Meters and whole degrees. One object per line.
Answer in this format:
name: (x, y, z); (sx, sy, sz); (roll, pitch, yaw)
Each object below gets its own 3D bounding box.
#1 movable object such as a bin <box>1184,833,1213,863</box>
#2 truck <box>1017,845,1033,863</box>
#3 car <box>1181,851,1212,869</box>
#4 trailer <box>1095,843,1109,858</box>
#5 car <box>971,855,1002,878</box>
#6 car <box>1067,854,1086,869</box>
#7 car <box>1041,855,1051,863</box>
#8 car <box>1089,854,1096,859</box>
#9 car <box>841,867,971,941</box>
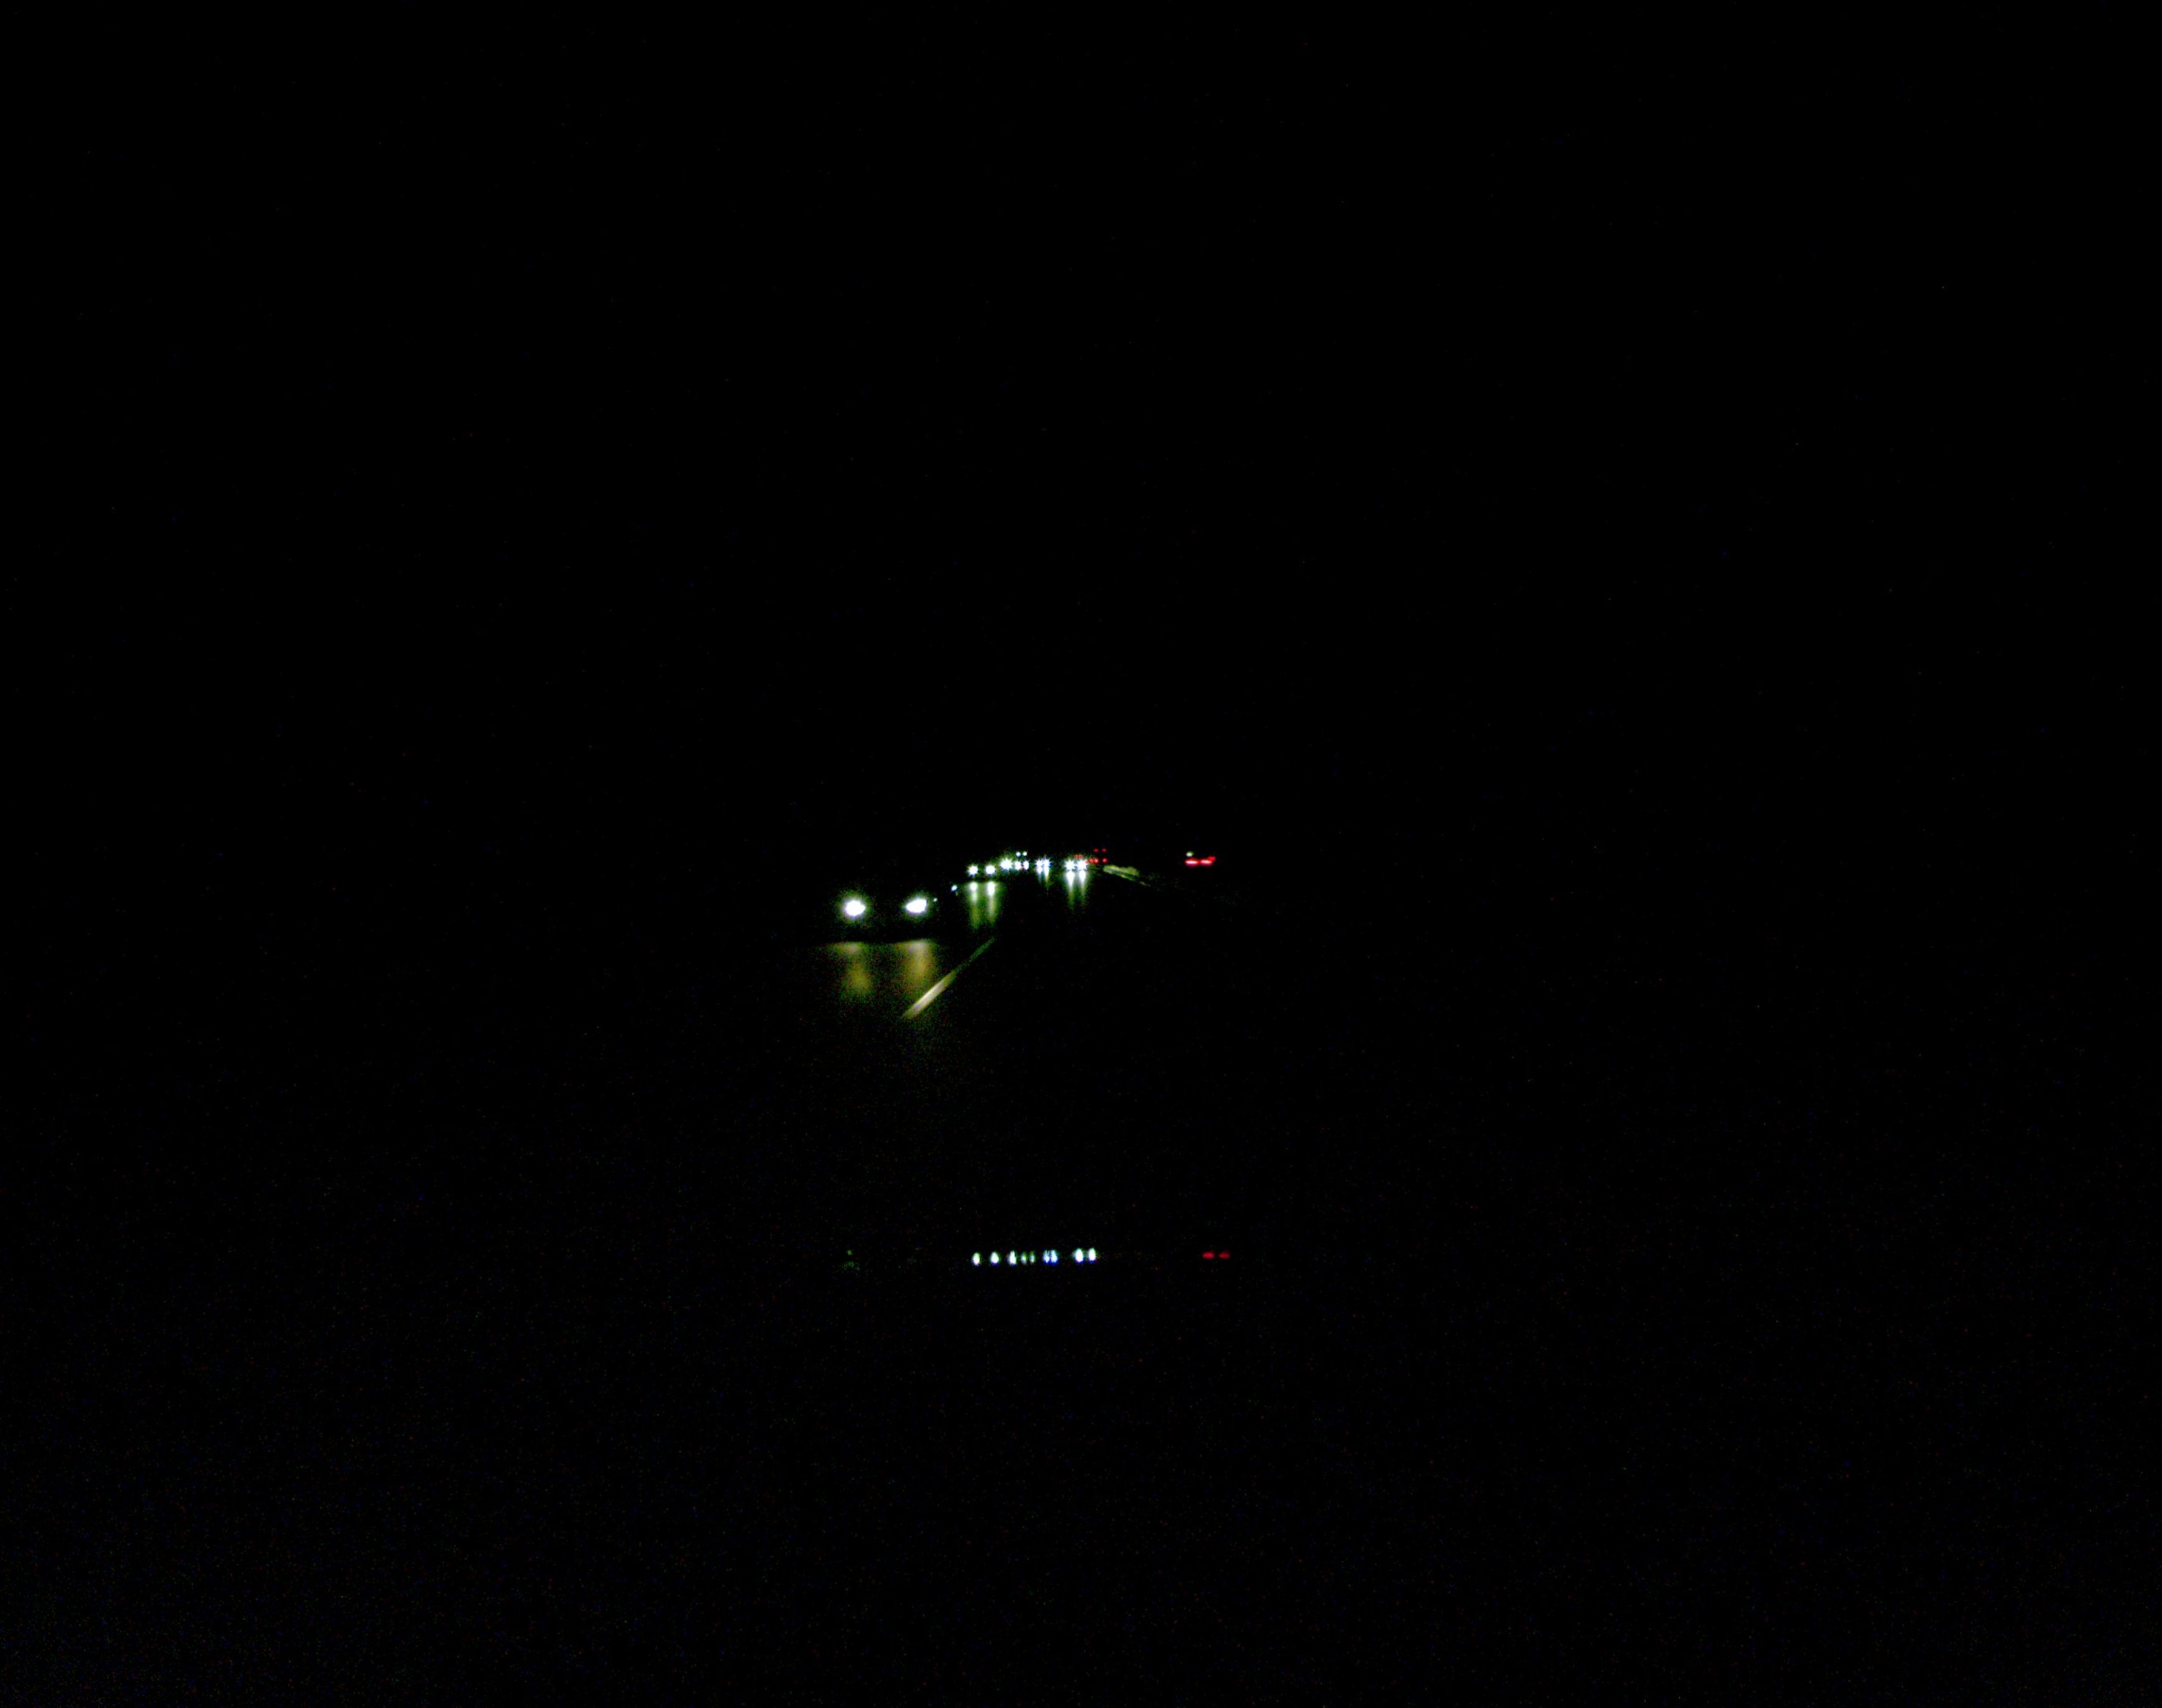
movable object such as a bin: (14.514, -0.719, 94.276); (2.213, 3.397, 7.436); (-2, 0, 0)
truck: (-14.206, 0.034, 192.293); (3.348, 4.407, 6.988); (-3, 0, -8)
car: (10.185, 0.506, 67.211); (1.938, 1.444, 4.453); (-2, 0, -1)
trailer: (6.517, -0.916, 236.088); (2.860, 4.407, 13.975); (-3, 0, -3)
car: (-7.695, 1.018, 62.465); (1.999, 1.707, 5.167); (-2, 0, -2)
car: (-0.510, 0.813, 88.486); (2.011, 1.652, 4.000); (-2, 0, 2)
car: (-7.525, 1.075, 162.722); (1.940, 1.608, 3.999); (-2, 0, -2)
car: (3.372, 0.724, 226.714); (1.818, 1.444, 4.132); (-2, 0, -3)
car: (-3.971, 1.071, 18.159); (1.839, 1.393, 5.069); (-2, 0, 1)
